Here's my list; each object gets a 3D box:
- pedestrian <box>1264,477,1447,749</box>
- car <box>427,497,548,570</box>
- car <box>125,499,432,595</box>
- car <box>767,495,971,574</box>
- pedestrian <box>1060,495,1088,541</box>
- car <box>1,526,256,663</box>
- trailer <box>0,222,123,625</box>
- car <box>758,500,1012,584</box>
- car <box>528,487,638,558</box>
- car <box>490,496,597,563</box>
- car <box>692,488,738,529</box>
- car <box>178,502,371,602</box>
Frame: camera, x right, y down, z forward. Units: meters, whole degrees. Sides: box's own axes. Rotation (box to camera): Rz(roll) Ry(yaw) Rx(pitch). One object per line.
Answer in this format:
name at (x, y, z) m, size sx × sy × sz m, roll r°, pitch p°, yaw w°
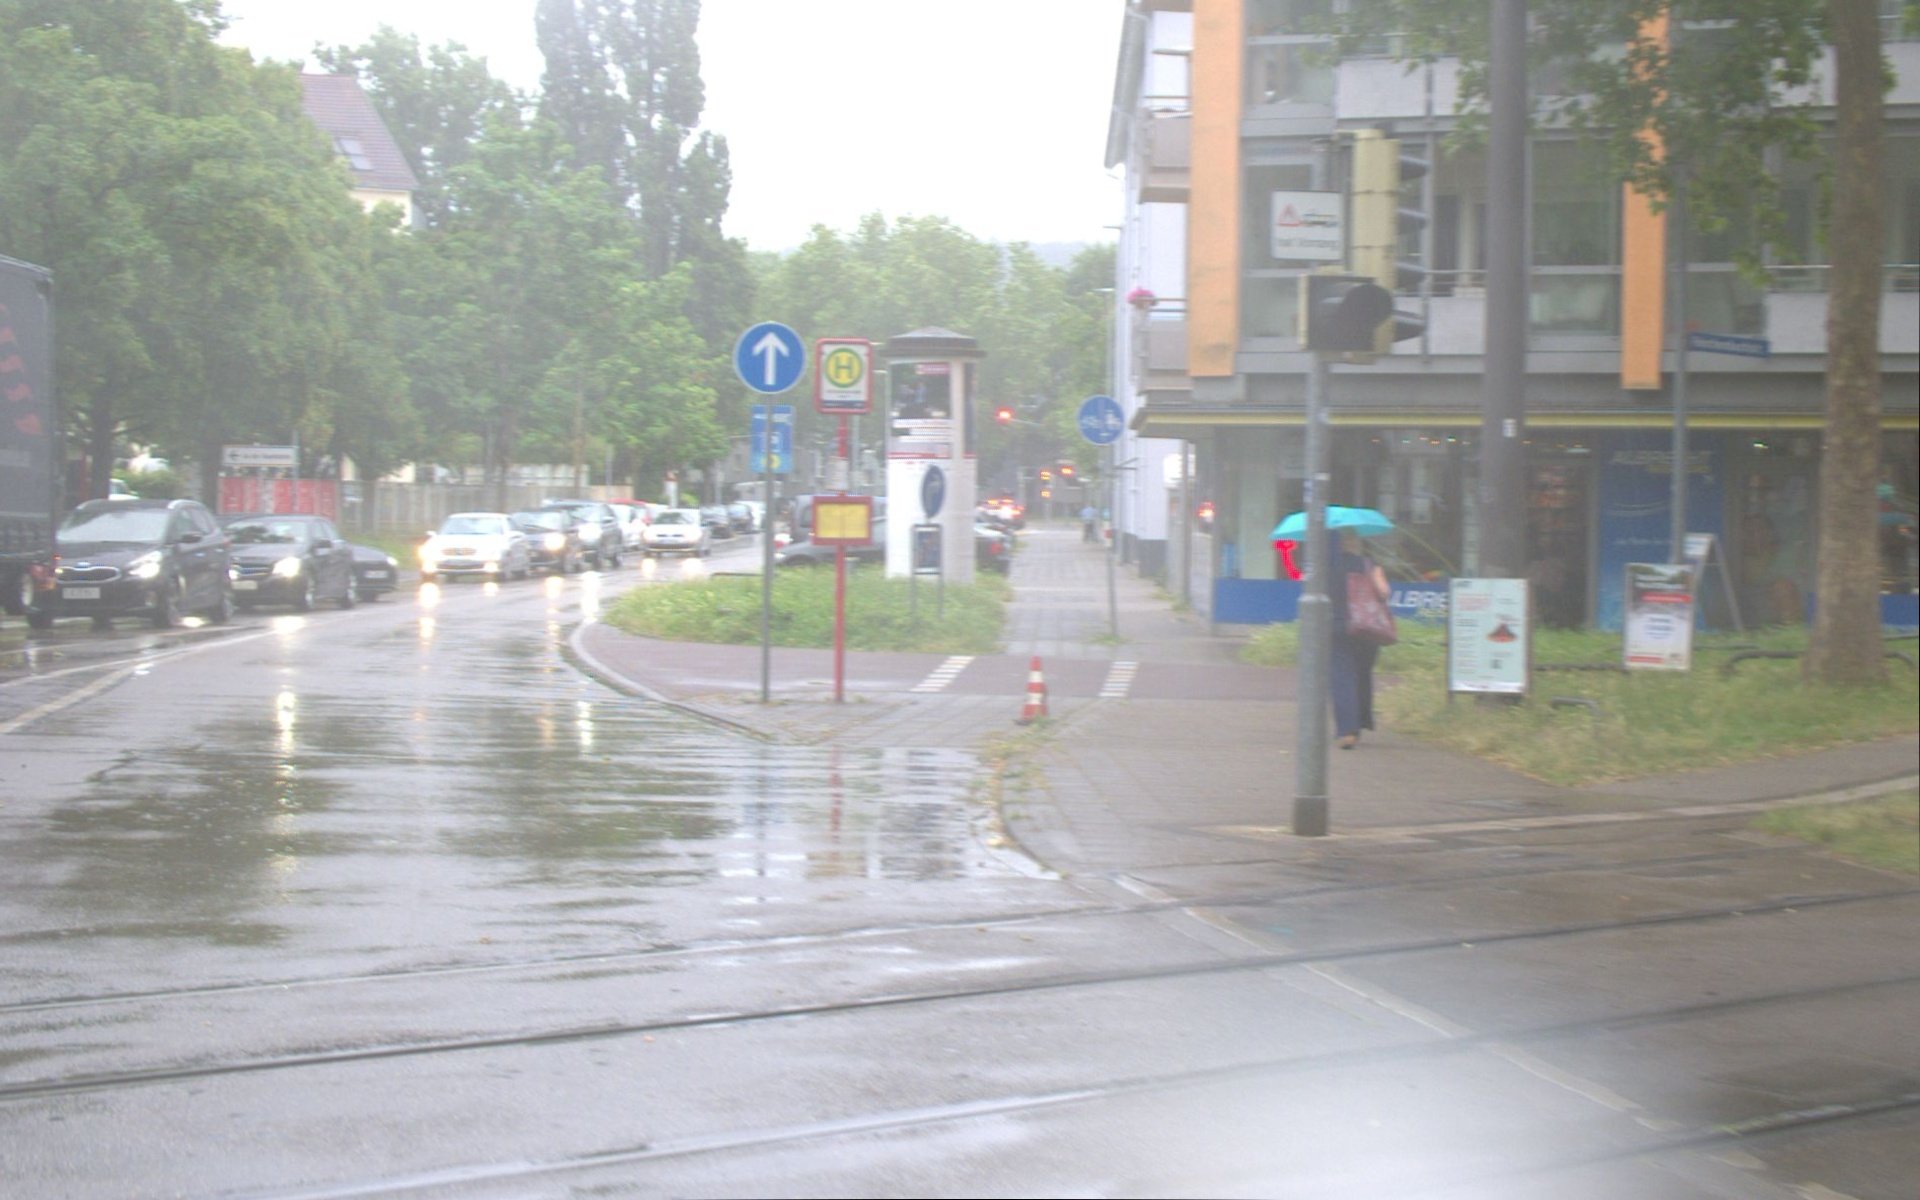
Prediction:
pedestrian at (2.797, 0.072, 24.471) m, size 1.170 × 1.858 × 1.385 m, roll 1°, pitch 1°, yaw 3°
car at (-9.675, -1.388, 70.700) m, size 1.774 × 1.398 × 4.830 m, roll 2°, pitch 1°, yaw 0°
car at (-11.209, -0.899, 56.445) m, size 4.922 × 1.449 × 2.082 m, roll 2°, pitch 2°, yaw 34°
car at (-1.871, -1.375, 71.827) m, size 4.189 × 1.563 × 1.889 m, roll 1°, pitch 1°, yaw 0°
pedestrian at (4.543, -3.253, 136.673) m, size 1.062 × 1.804 × 1.094 m, roll 1°, pitch 2°, yaw 1°
car at (-10.476, -0.074, 43.680) m, size 1.867 × 1.614 × 4.802 m, roll 1°, pitch 0°, yaw 3°
trailer at (-11.460, -1.681, 31.527) m, size 3.442 × 4.035 × 15.051 m, roll 1°, pitch 2°, yaw 2°
car at (-1.341, -1.076, 62.809) m, size 4.533 × 1.465 × 1.983 m, roll 1°, pitch 1°, yaw 2°
car at (-9.267, -1.915, 84.827) m, size 1.914 × 1.634 × 4.821 m, roll 2°, pitch 1°, yaw 3°
car at (-9.410, -1.624, 77.989) m, size 1.779 × 1.415 × 4.265 m, roll 1°, pitch 2°, yaw 2°
car at (-10.140, -3.795, 142.329) m, size 1.775 × 1.524 × 4.002 m, roll 2°, pitch 3°, yaw -5°
car at (-9.965, -0.735, 50.259) m, size 1.727 × 1.356 × 4.337 m, roll 0°, pitch 2°, yaw 3°
